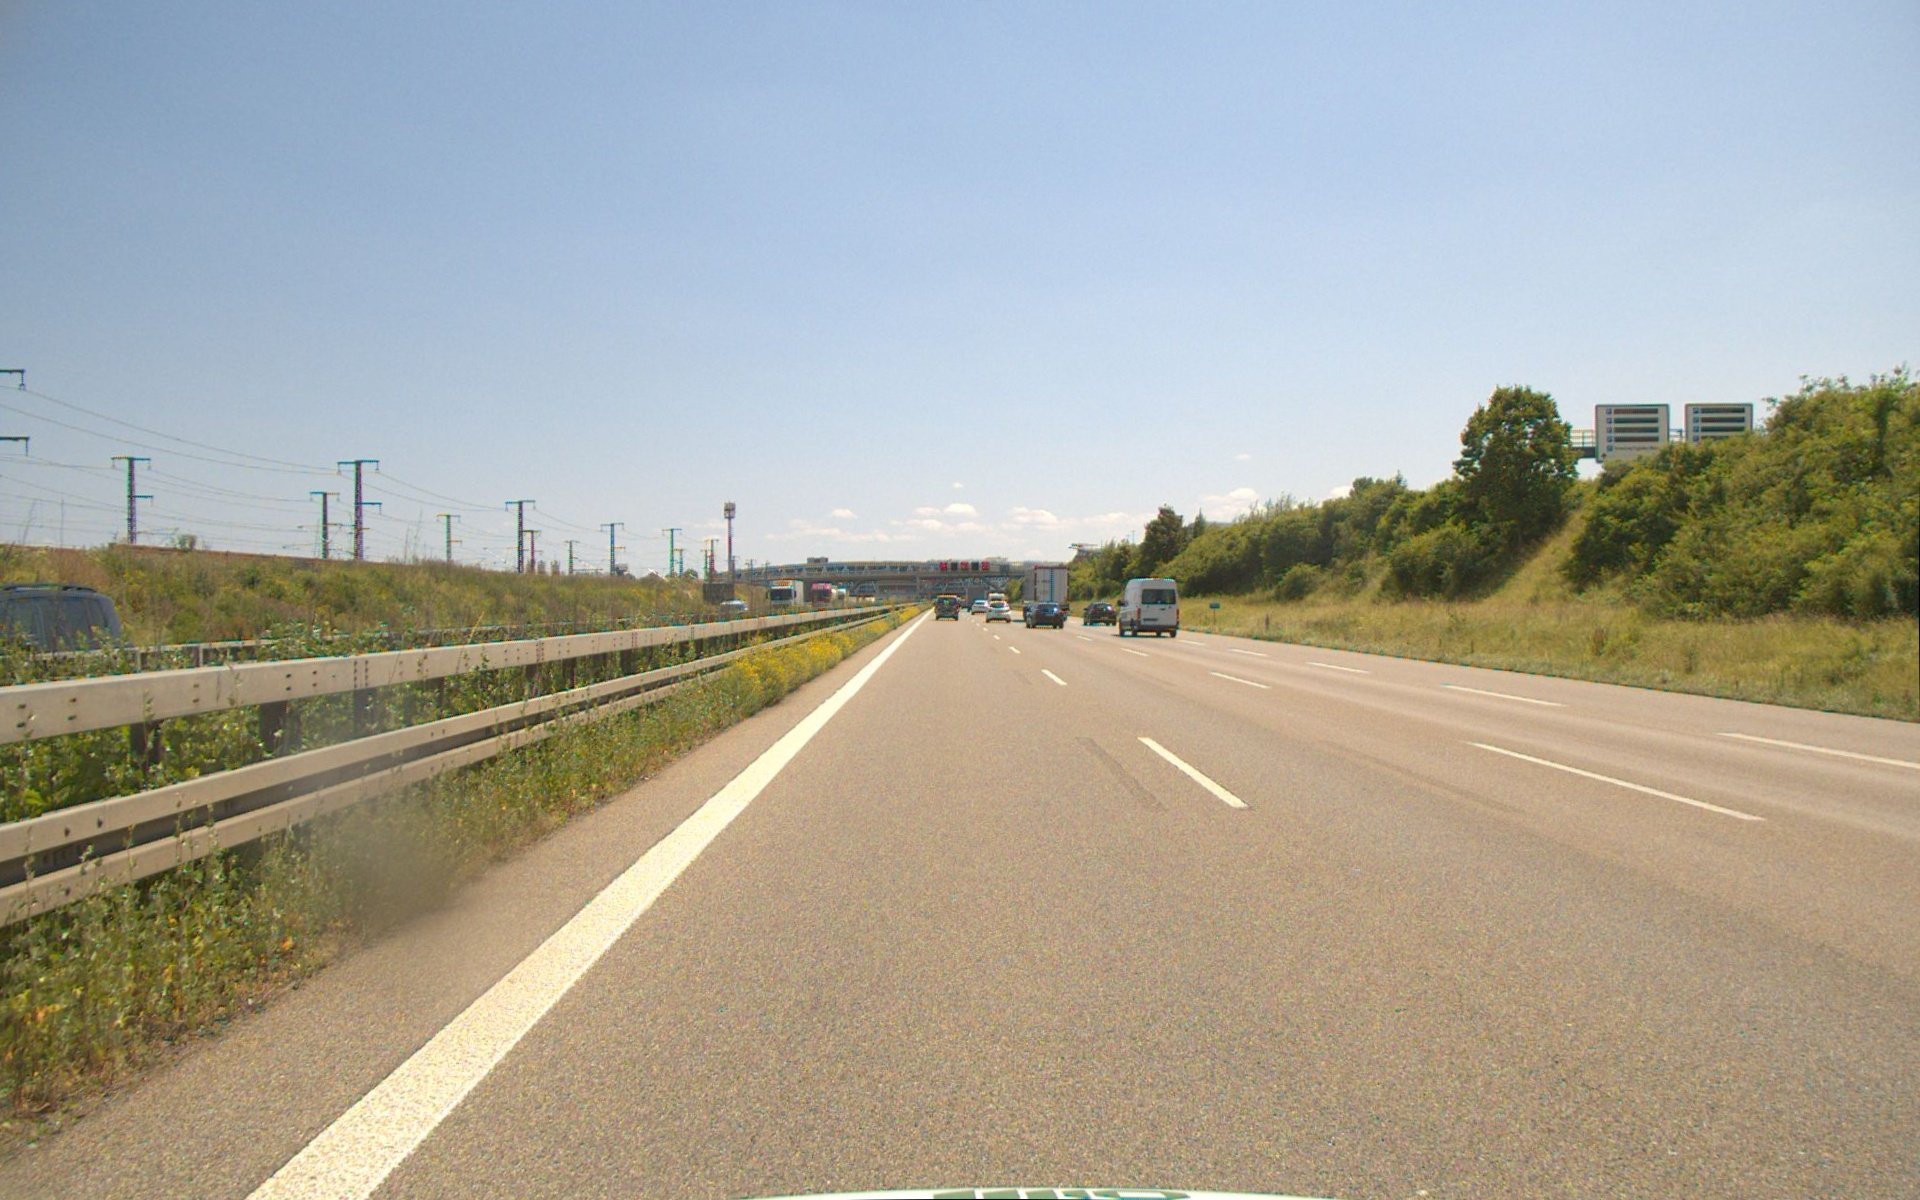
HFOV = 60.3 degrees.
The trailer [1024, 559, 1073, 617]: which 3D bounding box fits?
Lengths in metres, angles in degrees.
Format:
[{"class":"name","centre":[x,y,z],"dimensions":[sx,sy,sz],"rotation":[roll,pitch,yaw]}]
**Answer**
[{"class":"trailer","centre":[6.575,-0.902,124.546],"dimensions":[3.112,4.130,9.438],"rotation":[-1,0,0]}]

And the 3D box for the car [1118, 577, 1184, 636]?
[{"class":"car","centre":[8.633,0.262,75.200],"dimensions":[2.228,2.572,5.398],"rotation":[0,0,-2]}]

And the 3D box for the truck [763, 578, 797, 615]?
[{"class":"truck","centre":[-17.370,-0.328,160.183],"dimensions":[2.731,3.447,4.713],"rotation":[2,0,0]}]

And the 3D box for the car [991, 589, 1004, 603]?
[{"class":"car","centre":[5.737,-0.635,252.168],"dimensions":[1.952,2.049,4.437],"rotation":[0,0,1]}]

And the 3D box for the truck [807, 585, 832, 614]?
[{"class":"truck","centre":[-17.972,-0.092,211.480],"dimensions":[2.731,3.583,4.713],"rotation":[2,0,0]}]

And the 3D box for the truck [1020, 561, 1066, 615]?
[{"class":"truck","centre":[6.533,-0.941,132.070],"dimensions":[3.112,4.130,9.438],"rotation":[-1,0,0]}]

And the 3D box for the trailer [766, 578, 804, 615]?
[{"class":"trailer","centre":[-17.412,-0.326,165.119],"dimensions":[2.731,3.447,9.581],"rotation":[2,0,0]}]

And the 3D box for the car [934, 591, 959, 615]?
[{"class":"car","centre":[-1.008,0.250,125.320],"dimensions":[1.842,1.806,3.999],"rotation":[0,-1,0]}]

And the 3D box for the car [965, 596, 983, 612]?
[{"class":"car","centre":[1.526,0.438,176.936],"dimensions":[1.842,1.553,4.000],"rotation":[1,-1,0]}]

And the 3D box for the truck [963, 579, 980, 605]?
[{"class":"truck","centre":[1.541,-1.041,225.928],"dimensions":[2.307,3.476,6.056],"rotation":[0,0,0]}]

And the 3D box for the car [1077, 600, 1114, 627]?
[{"class":"car","centre":[8.825,0.886,108.153],"dimensions":[1.953,1.624,3.999],"rotation":[2,-1,-1]}]

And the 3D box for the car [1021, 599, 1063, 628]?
[{"class":"car","centre":[4.633,0.805,93.598],"dimensions":[1.954,1.534,3.997],"rotation":[2,-1,-3]}]

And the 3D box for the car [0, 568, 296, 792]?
[{"class":"car","centre":[-8.322,0.687,15.919],"dimensions":[1.953,1.828,4.660],"rotation":[2,-1,-1]}]

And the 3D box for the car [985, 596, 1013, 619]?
[{"class":"car","centre":[2.710,0.521,115.064],"dimensions":[1.841,1.553,4.001],"rotation":[1,-1,2]}]
